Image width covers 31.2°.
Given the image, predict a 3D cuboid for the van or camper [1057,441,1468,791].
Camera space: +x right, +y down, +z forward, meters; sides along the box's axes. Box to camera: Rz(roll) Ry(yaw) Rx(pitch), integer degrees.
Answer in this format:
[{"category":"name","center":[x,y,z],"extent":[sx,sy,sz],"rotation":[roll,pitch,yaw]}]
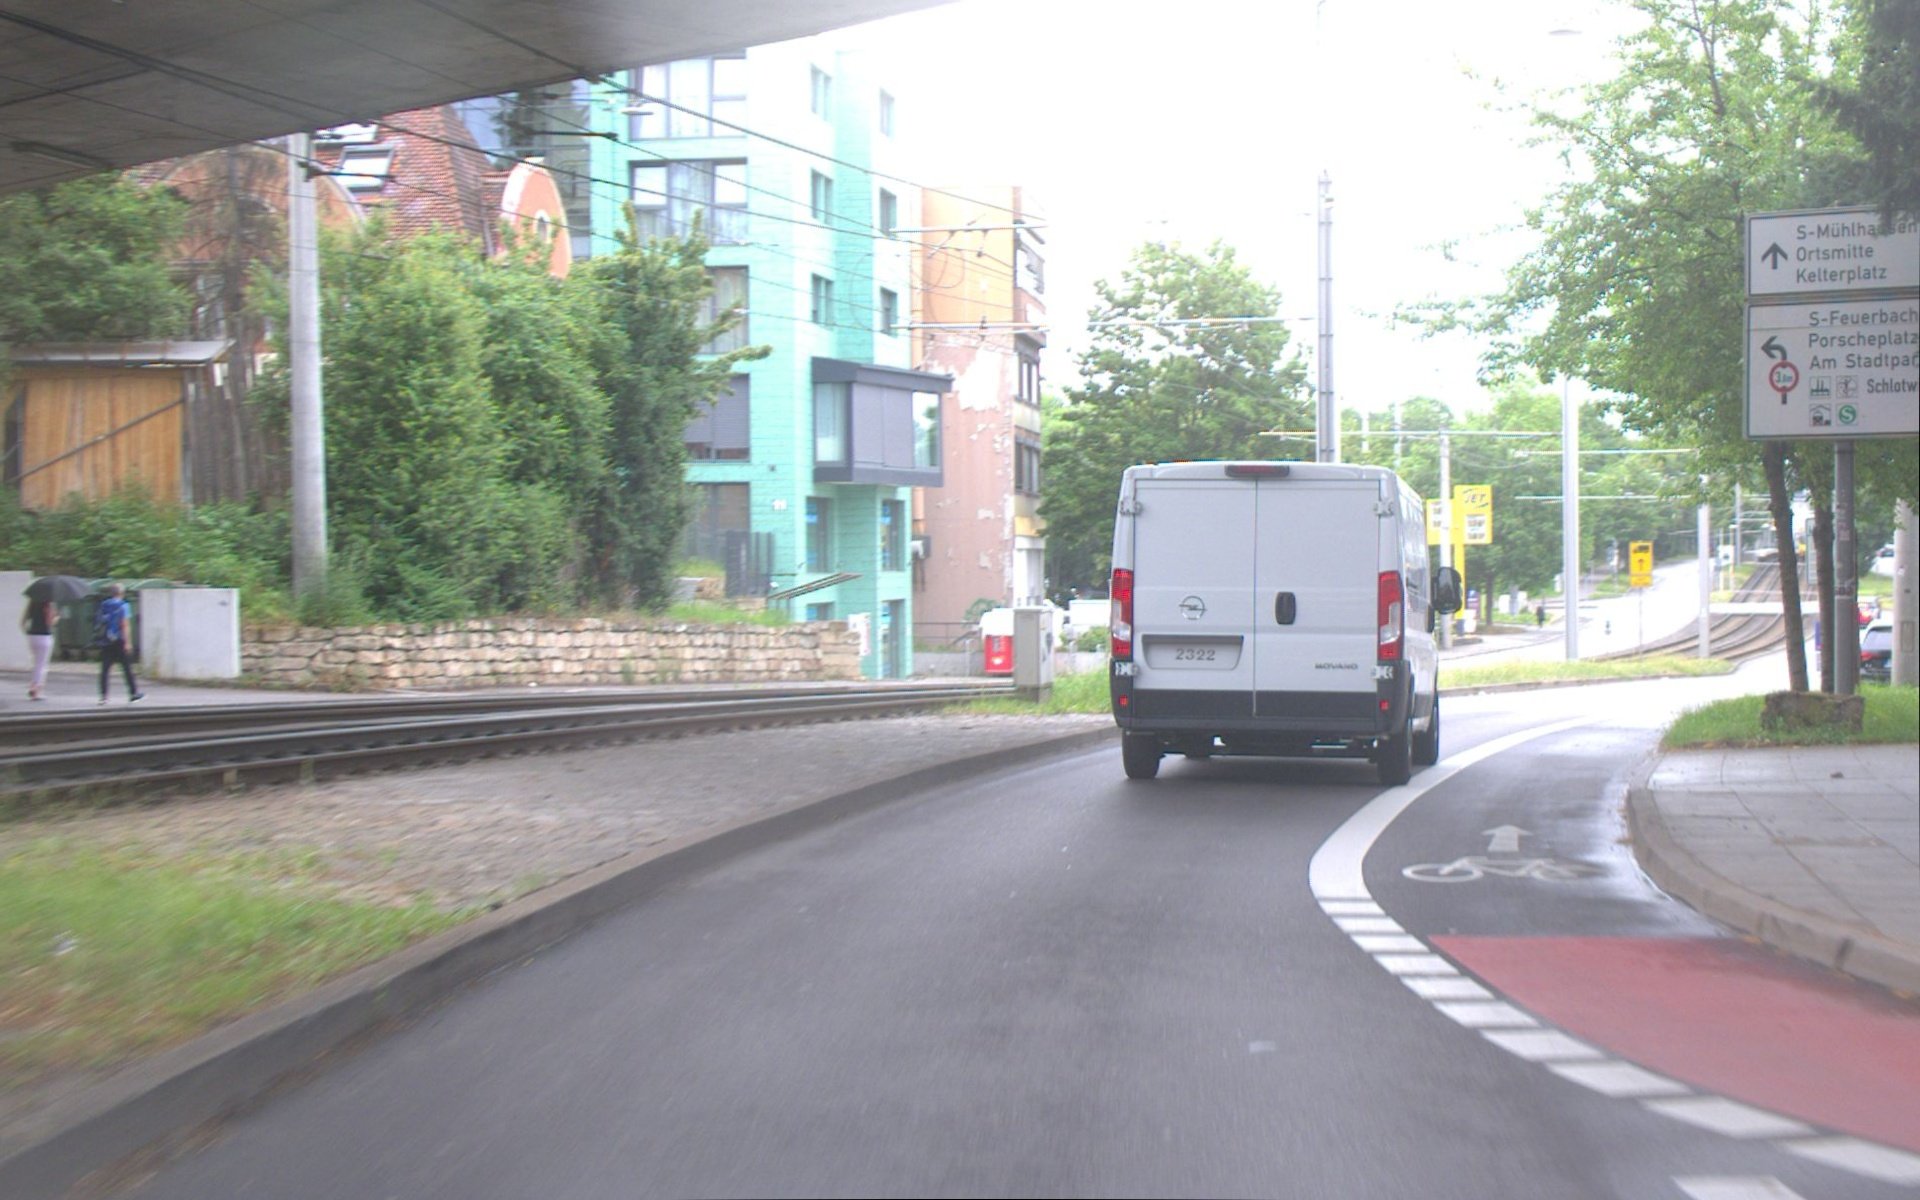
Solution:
[{"category":"van or camper","center":[2.332,0.119,25.148],"extent":[2.200,2.245,4.680],"rotation":[2,0,14]}]

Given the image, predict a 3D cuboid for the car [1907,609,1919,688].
[{"category":"car","center":[18.885,0.948,65.081],"extent":[1.579,1.447,3.716],"rotation":[0,-2,20]}]

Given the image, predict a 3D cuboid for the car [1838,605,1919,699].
[{"category":"car","center":[15.078,0.832,54.847],"extent":[1.678,1.418,4.560],"rotation":[1,0,19]}]

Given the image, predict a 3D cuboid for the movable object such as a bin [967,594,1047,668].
[{"category":"movable object such as a bin","center":[1.462,0.960,106.393],"extent":[2.134,2.149,1.801],"rotation":[2,1,9]}]

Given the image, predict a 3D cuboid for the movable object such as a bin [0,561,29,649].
[{"category":"movable object such as a bin","center":[-17.126,0.060,59.131],"extent":[1.557,1.474,1.802],"rotation":[1,2,-37]}]

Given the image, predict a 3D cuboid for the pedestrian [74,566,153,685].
[{"category":"pedestrian","center":[-12.060,0.351,49.008],"extent":[0.694,1.664,0.887],"rotation":[1,1,20]}]

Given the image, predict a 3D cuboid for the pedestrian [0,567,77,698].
[{"category":"pedestrian","center":[-13.150,0.453,49.022],"extent":[0.694,1.824,0.866],"rotation":[1,1,18]}]
